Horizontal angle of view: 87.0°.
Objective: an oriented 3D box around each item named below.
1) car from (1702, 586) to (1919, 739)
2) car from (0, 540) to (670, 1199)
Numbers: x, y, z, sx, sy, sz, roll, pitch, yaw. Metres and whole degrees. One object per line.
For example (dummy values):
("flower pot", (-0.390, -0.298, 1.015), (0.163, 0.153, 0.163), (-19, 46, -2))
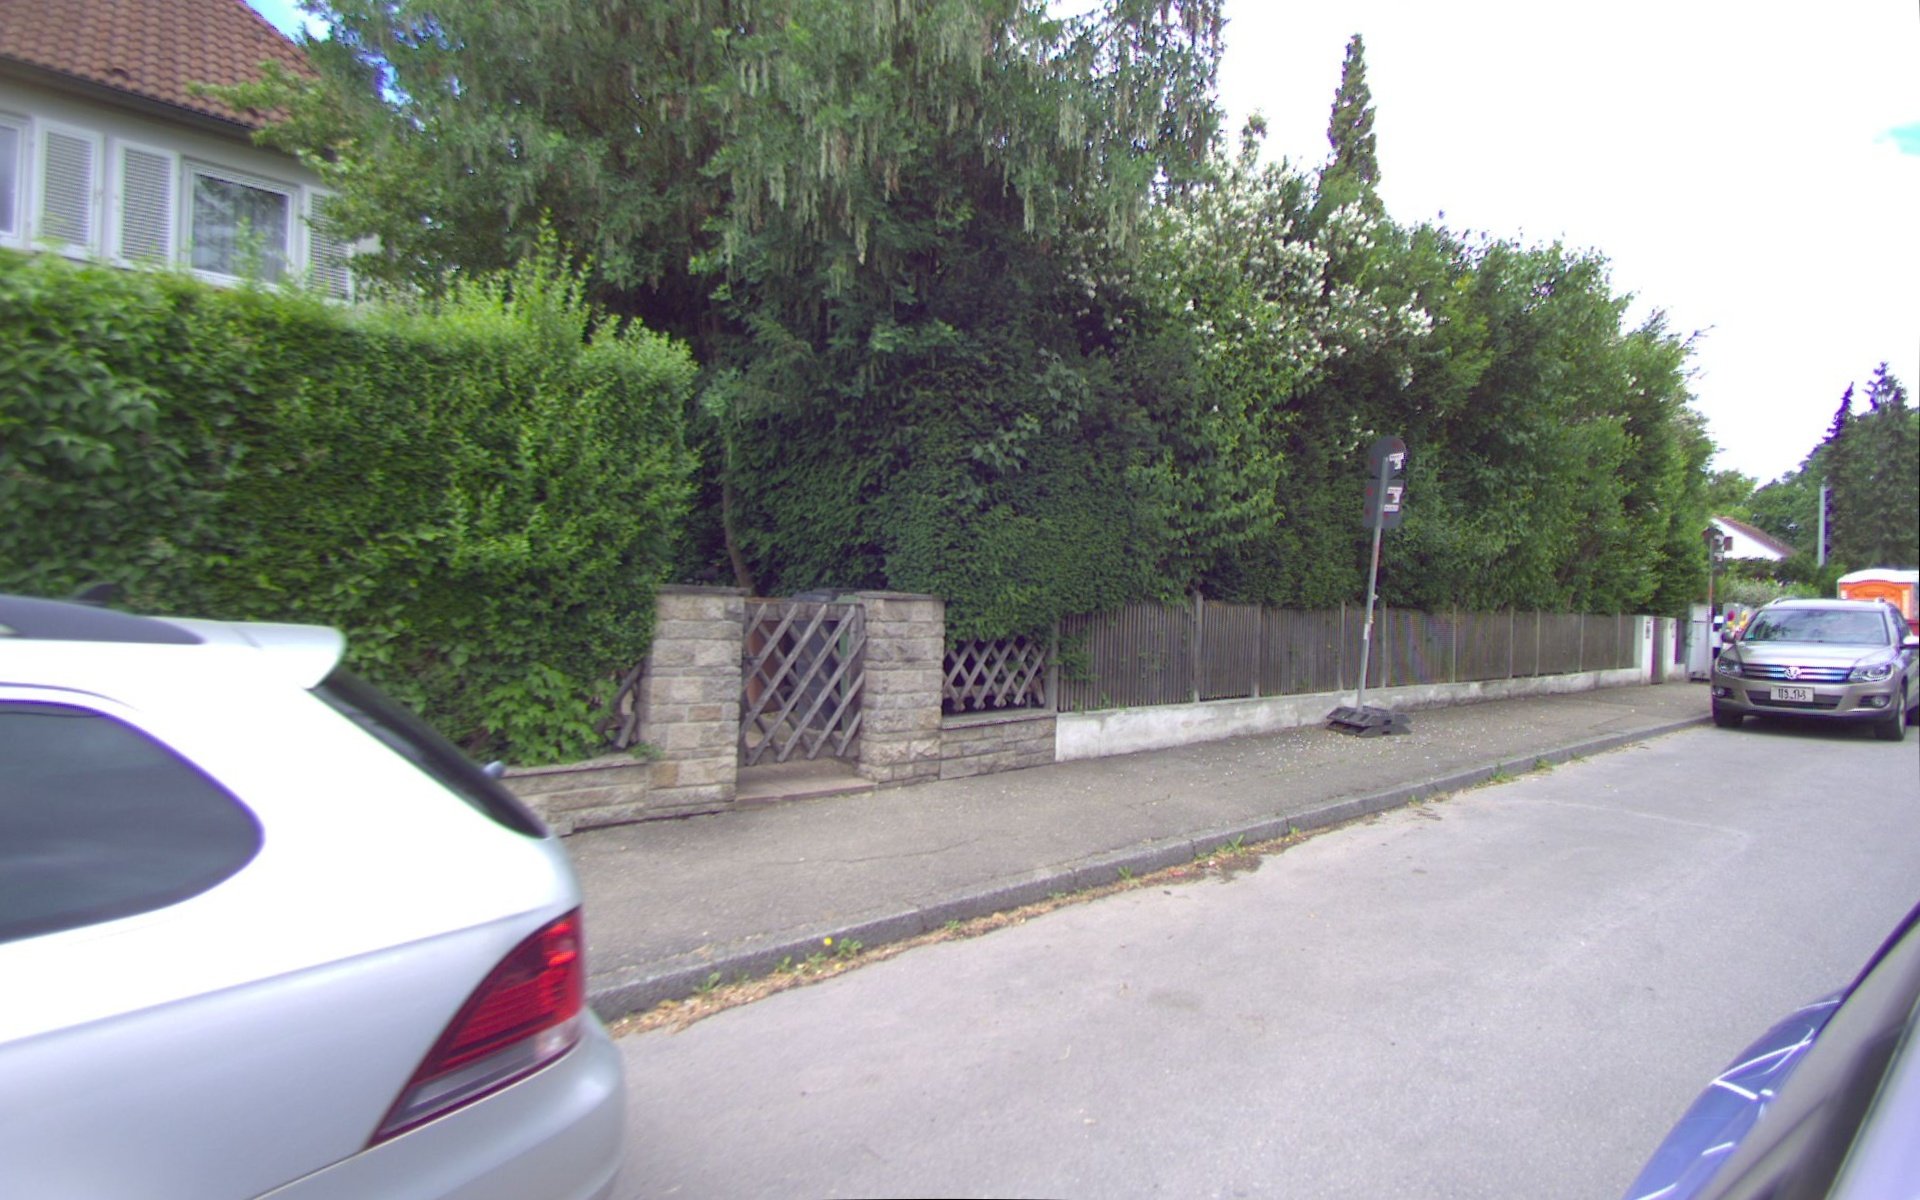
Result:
("car", (11.206, 0.688, 13.020), (4.054, 1.653, 1.876), (1, 0, -42))
("car", (-2.644, 0.673, 0.886), (4.285, 1.496, 1.758), (0, 1, -43))
